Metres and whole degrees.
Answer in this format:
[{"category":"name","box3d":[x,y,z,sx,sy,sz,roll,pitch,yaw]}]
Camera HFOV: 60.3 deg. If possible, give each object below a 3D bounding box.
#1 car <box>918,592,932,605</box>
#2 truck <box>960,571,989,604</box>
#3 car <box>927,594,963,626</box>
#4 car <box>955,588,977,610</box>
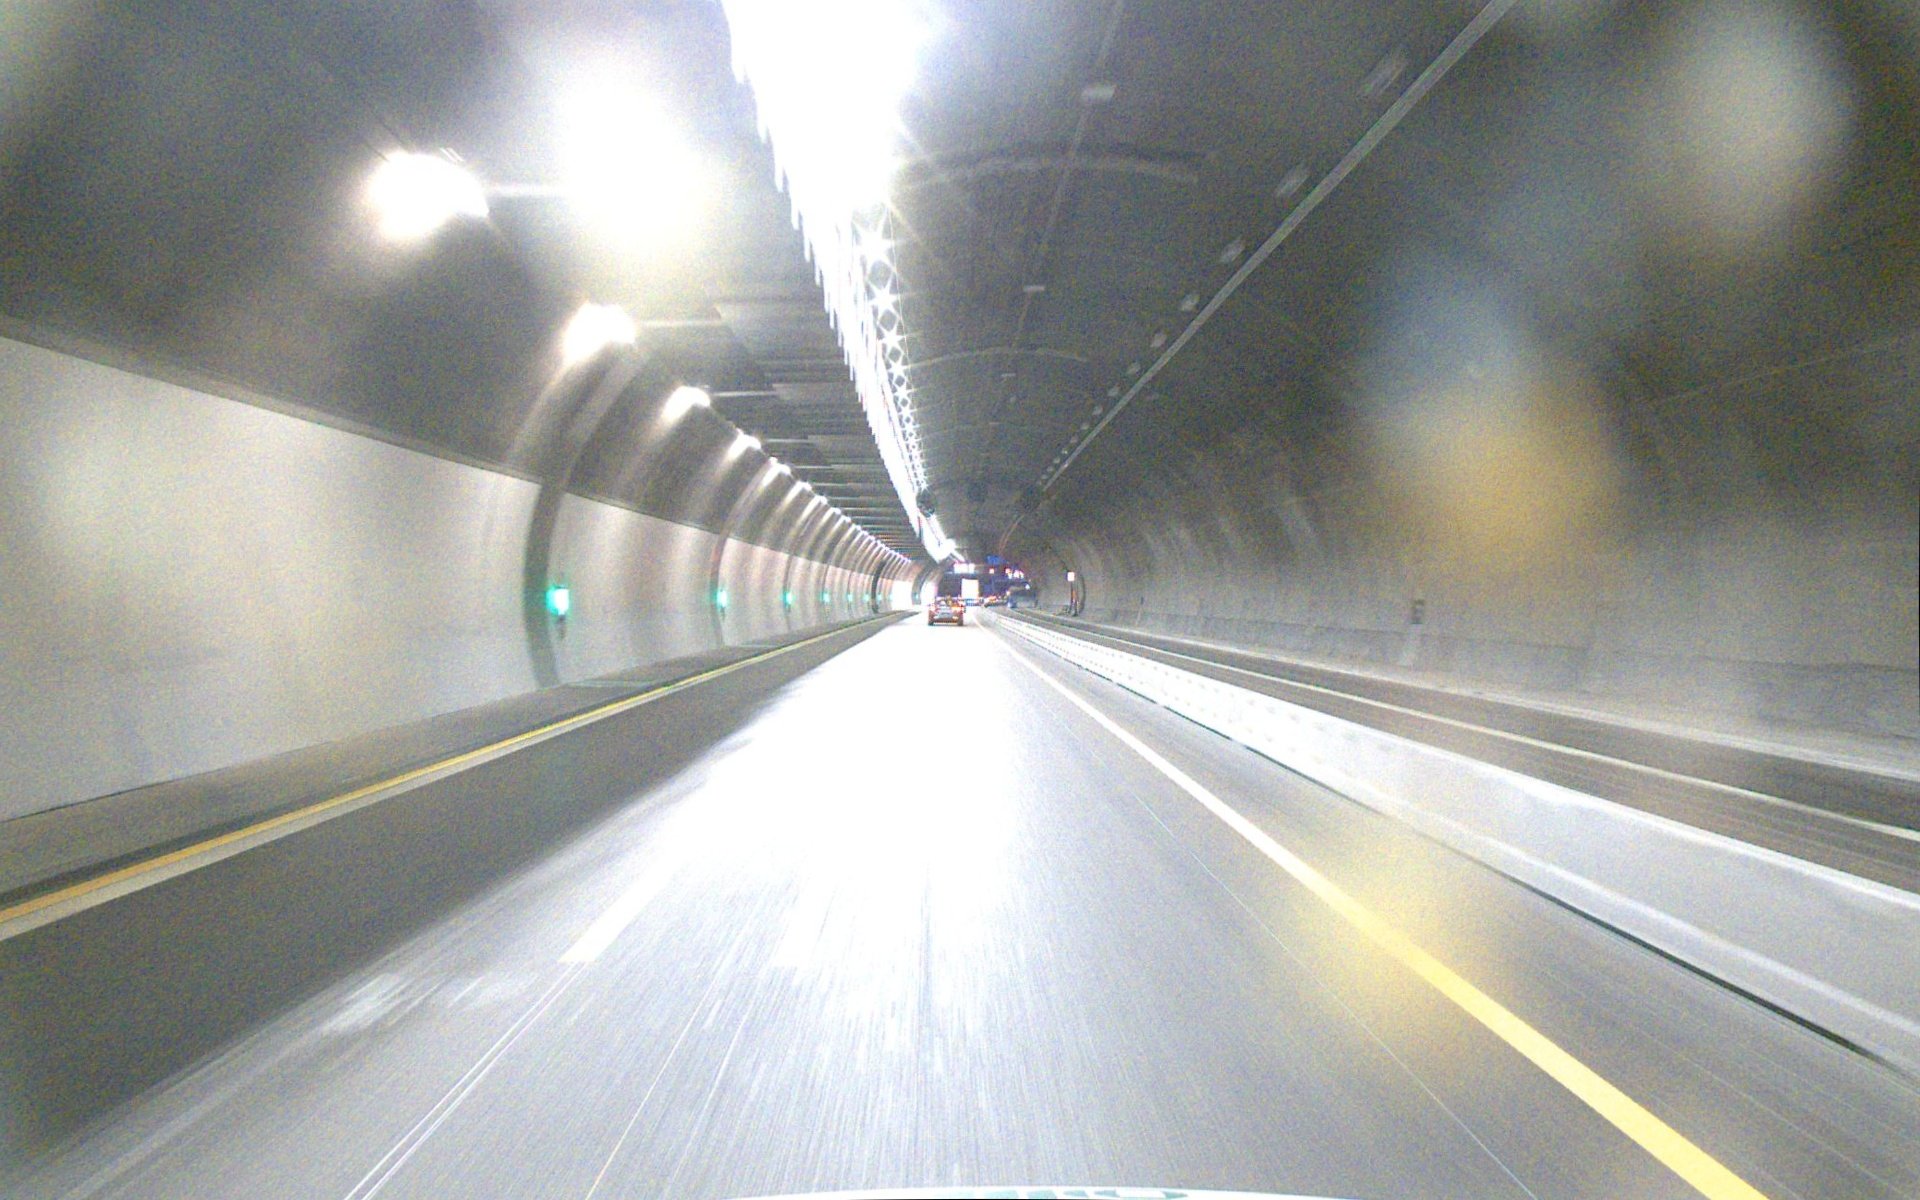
[{"category":"car","box3d":[-4.434,-0.199,209.766,1.790,1.635,3.999,0,0,-1]},{"category":"truck","box3d":[2.341,-1.954,261.862,4.452,5.074,9.600,0,0,1]},{"category":"car","box3d":[-0.819,0.497,86.966,1.849,1.635,3.999,0,0,-1]},{"category":"car","box3d":[0.555,-0.128,157.899,1.953,2.049,3.999,0,0,-1]}]
